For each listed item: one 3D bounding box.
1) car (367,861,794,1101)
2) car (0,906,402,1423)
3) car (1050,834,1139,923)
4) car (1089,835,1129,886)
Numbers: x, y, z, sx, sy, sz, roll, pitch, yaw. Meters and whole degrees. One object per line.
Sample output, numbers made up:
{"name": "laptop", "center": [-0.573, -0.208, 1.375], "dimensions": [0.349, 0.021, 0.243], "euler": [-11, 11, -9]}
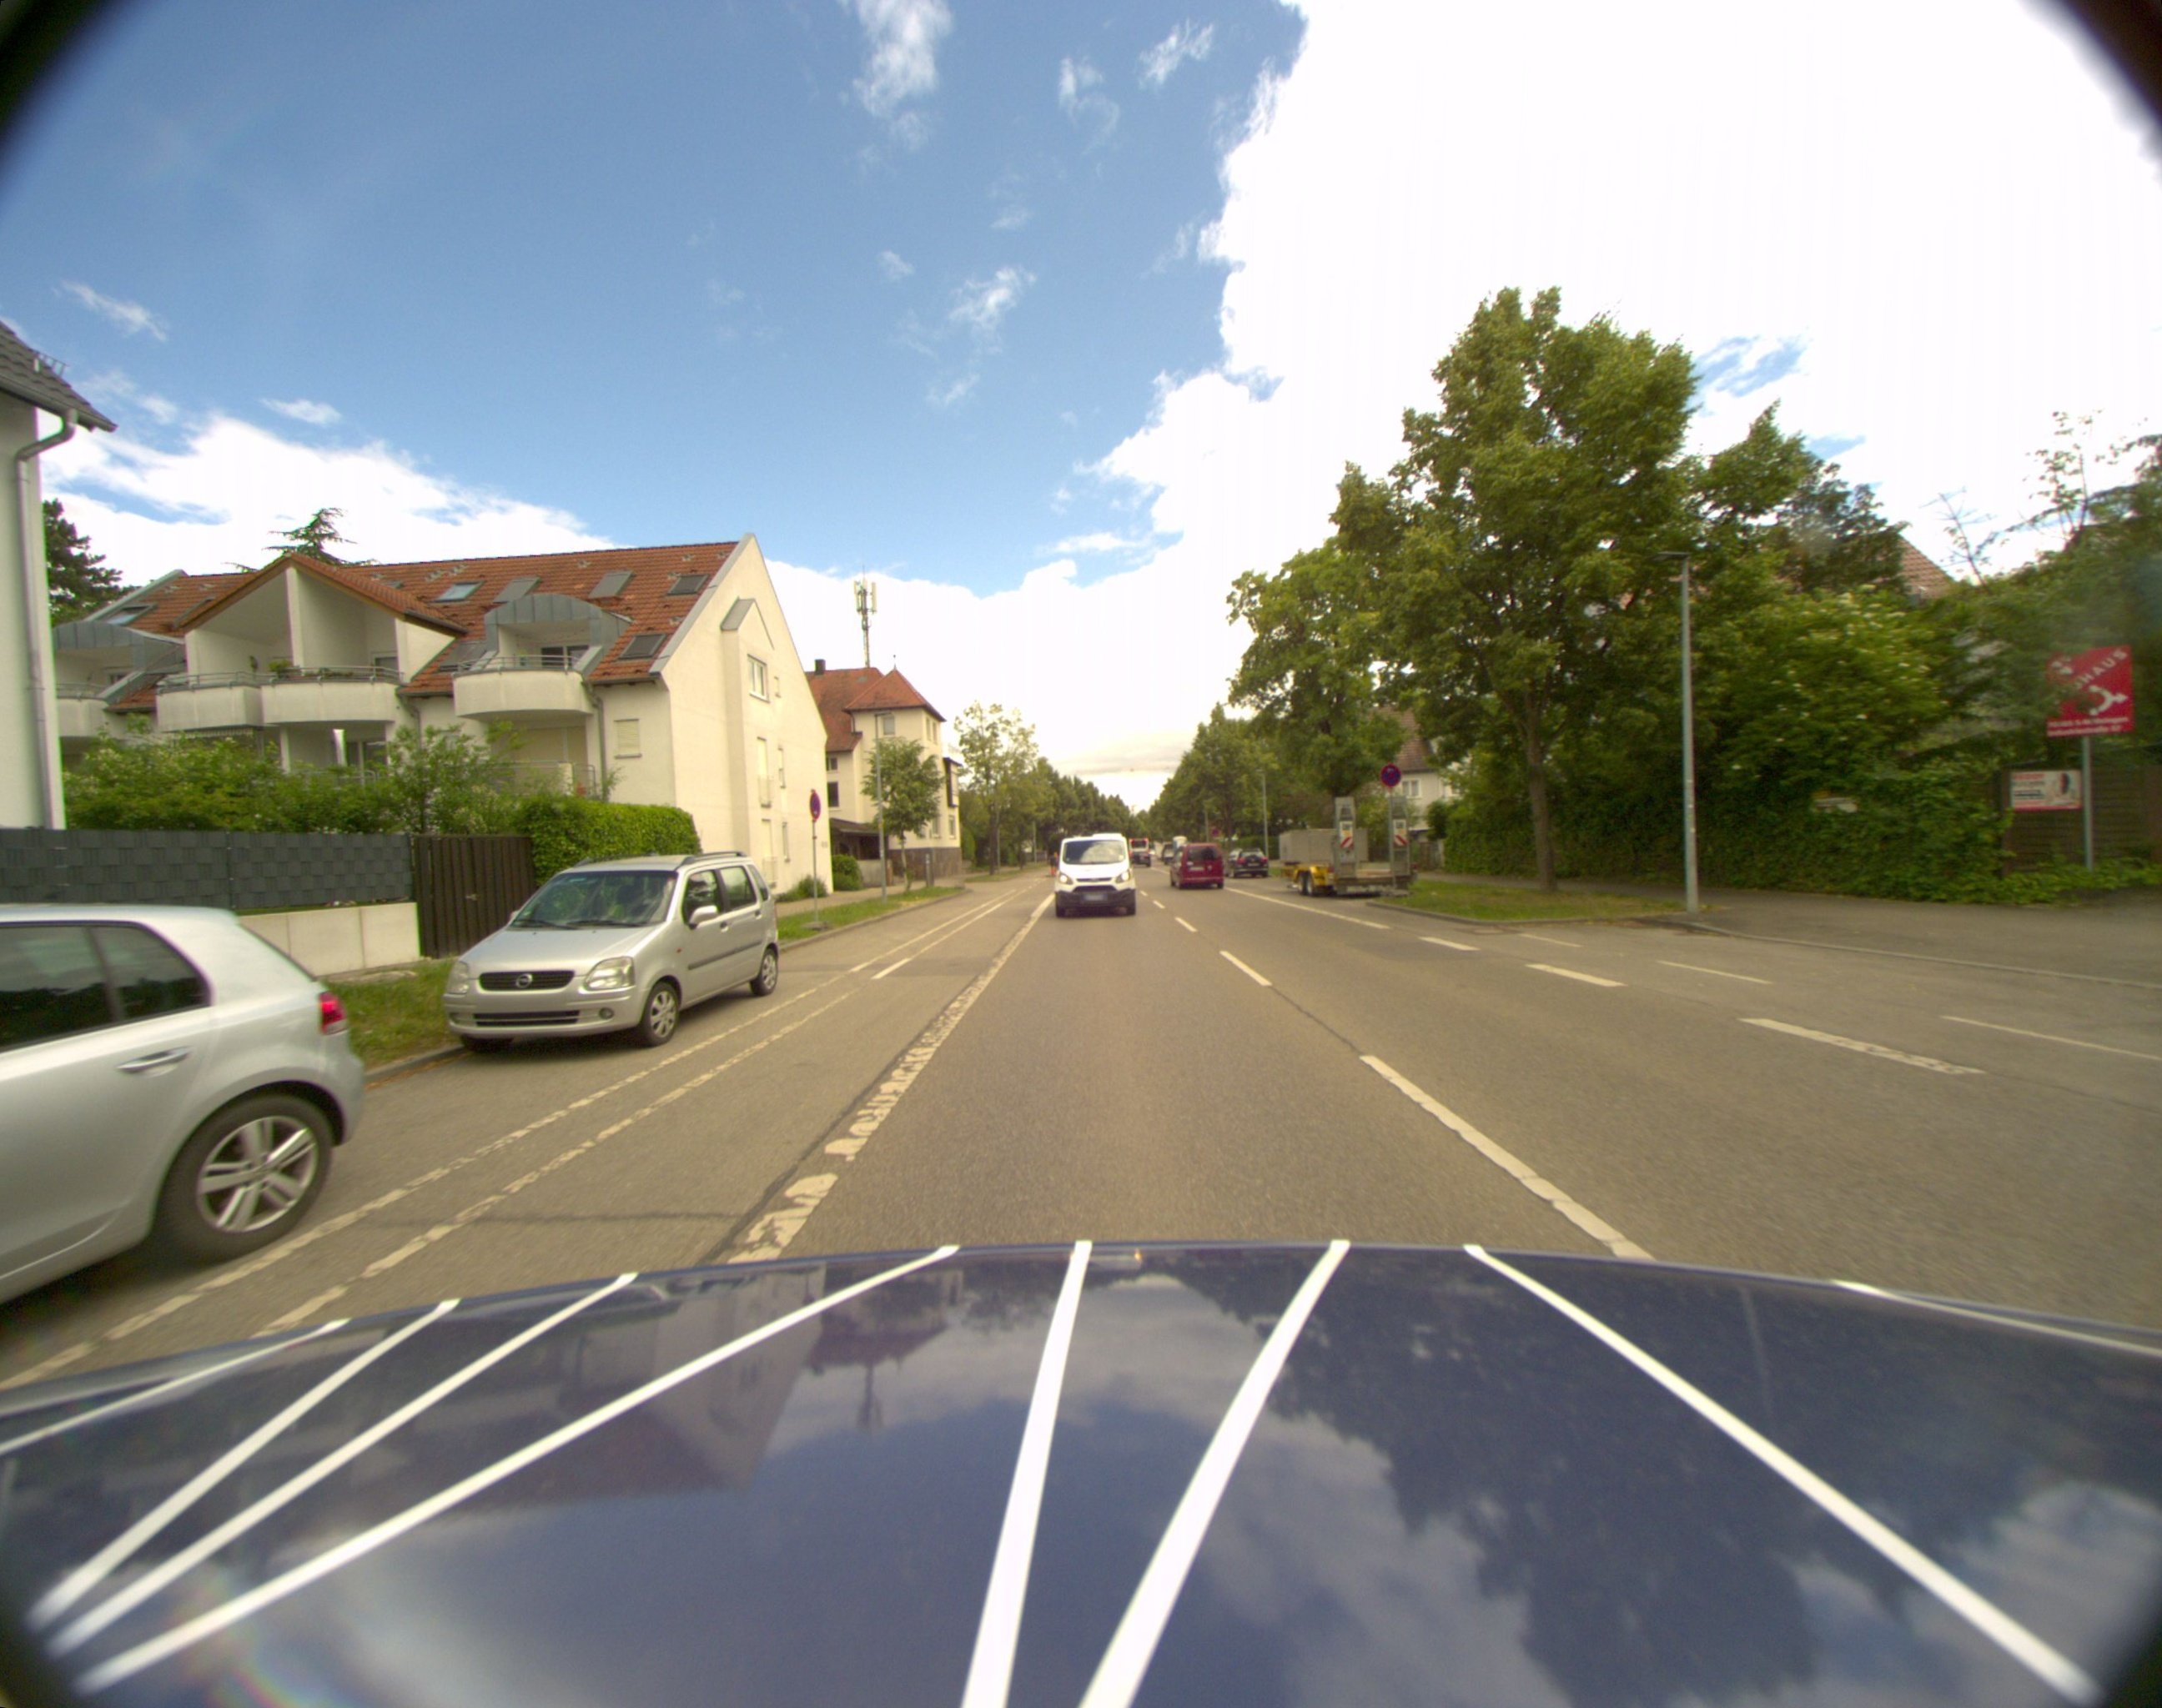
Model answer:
{"name": "car", "center": [-4.373, 0.956, 7.420], "dimensions": [1.636, 1.656, 3.647], "euler": [-2, 1, 1]}
{"name": "car", "center": [-4.197, 1.040, 1.581], "dimensions": [1.691, 1.484, 4.227], "euler": [-2, 1, 0]}
{"name": "car", "center": [0.495, 0.553, 20.383], "dimensions": [1.998, 2.002, 5.319], "euler": [-2, 1, 4]}
{"name": "car", "center": [1.575, 0.334, 41.895], "dimensions": [1.998, 2.584, 4.001], "euler": [-3, 0, 3]}
